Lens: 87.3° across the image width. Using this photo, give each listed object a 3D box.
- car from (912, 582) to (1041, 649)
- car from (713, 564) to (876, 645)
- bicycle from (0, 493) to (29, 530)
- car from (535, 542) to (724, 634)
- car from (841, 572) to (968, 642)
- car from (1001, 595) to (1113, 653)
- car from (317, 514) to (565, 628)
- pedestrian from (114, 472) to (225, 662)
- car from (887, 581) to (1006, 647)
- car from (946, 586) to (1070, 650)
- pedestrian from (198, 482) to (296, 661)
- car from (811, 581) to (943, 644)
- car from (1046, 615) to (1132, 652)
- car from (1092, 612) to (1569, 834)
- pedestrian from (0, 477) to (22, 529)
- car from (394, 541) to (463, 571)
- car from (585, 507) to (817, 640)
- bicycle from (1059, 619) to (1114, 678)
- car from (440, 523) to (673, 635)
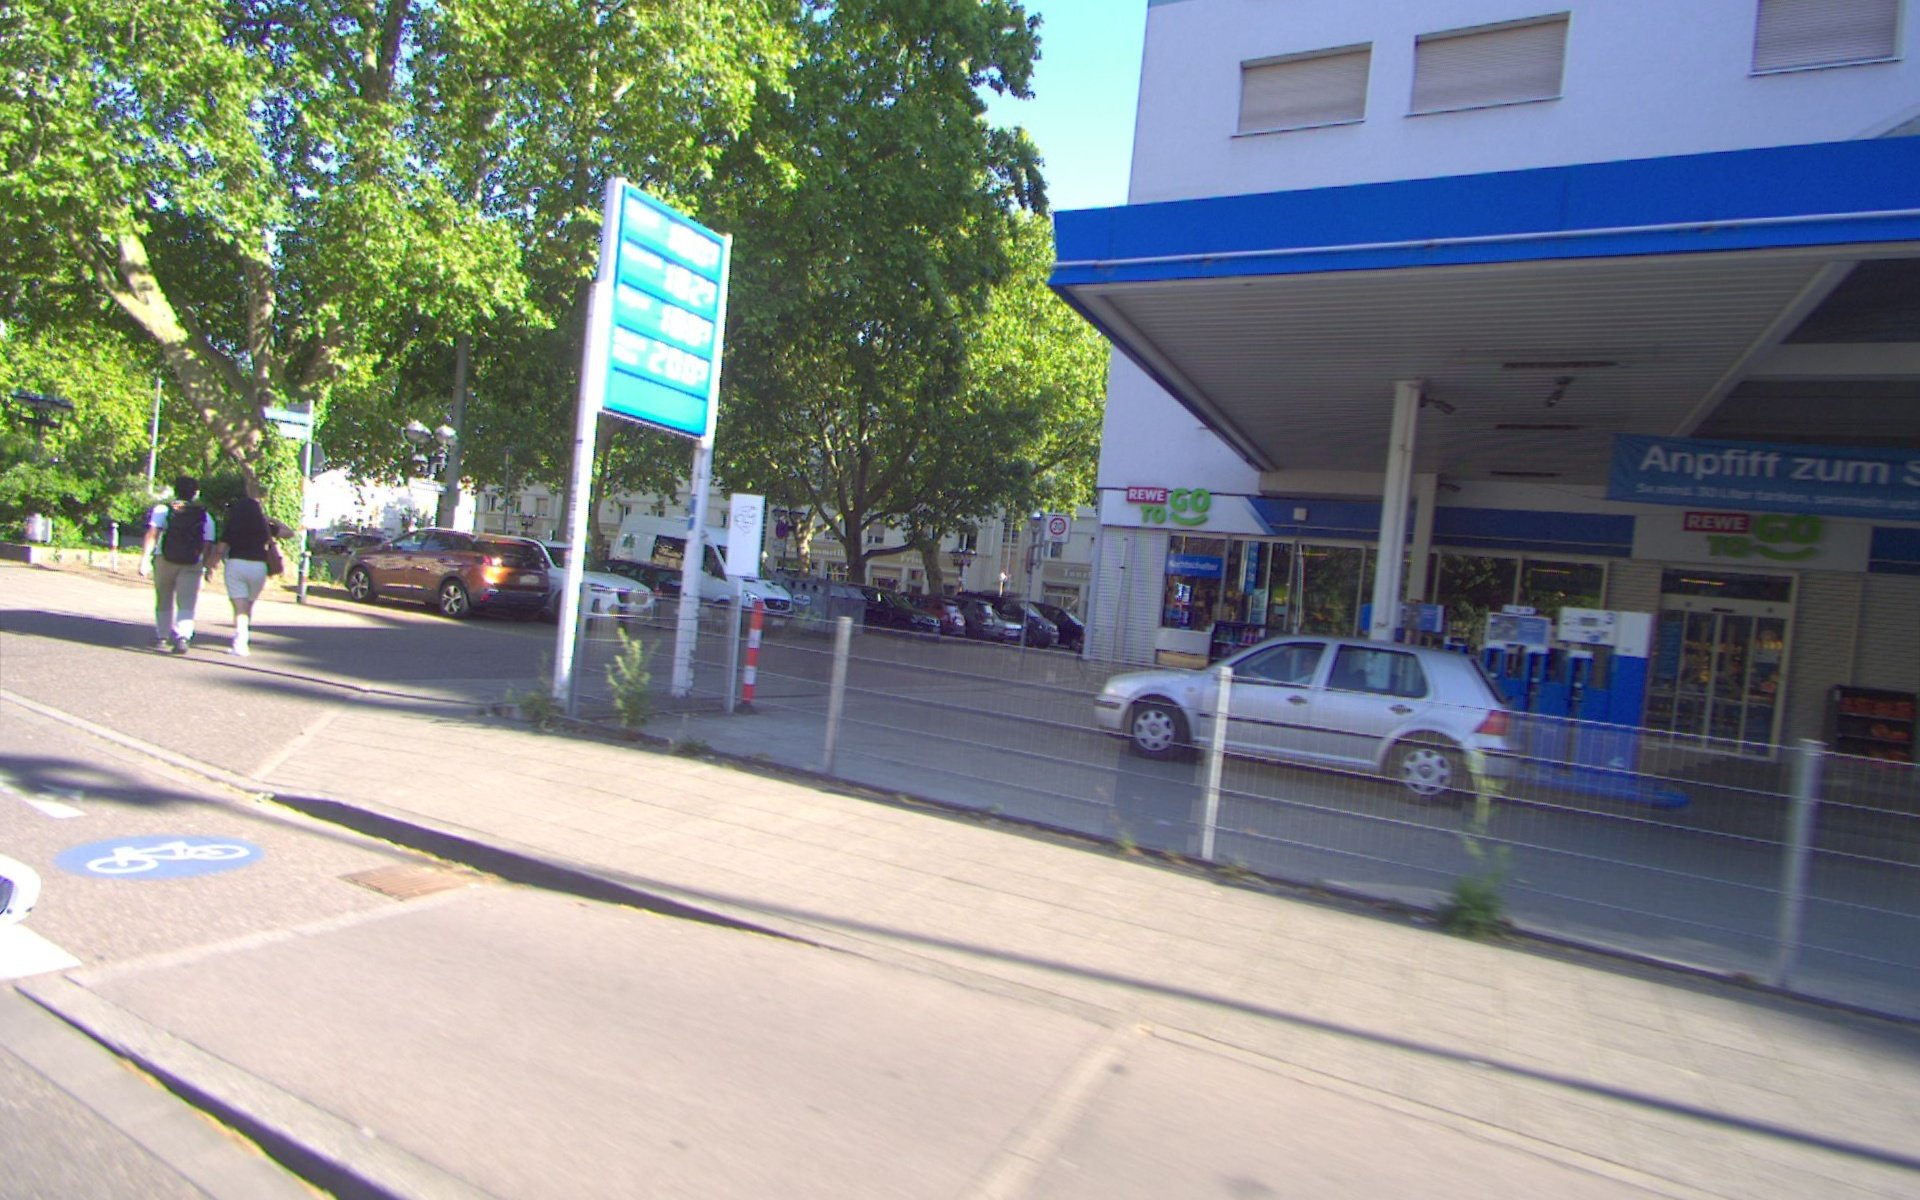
[{"bbox_3d":[0.662,0.634,40.856,4.668,2.039,1.997,8,1,28],"label":"car"},{"bbox_3d":[-4.626,0.130,28.072,3.929,1.760,1.998,6,0,26],"label":"car"},{"bbox_3d":[-36.350,-3.434,37.673,0.446,1.254,2.330,7,-2,7],"label":"bicycle"},{"bbox_3d":[-7.690,-0.273,23.366,3.930,1.590,1.863,8,1,28],"label":"car"},{"bbox_3d":[-1.956,0.258,35.972,3.924,2.039,2.000,6,1,16],"label":"car"},{"bbox_3d":[4.545,1.108,47.391,4.668,2.039,1.997,8,1,28],"label":"car"},{"bbox_3d":[-10.219,-0.572,19.780,4.578,1.622,1.821,8,1,25],"label":"car"},{"bbox_3d":[-7.974,-0.341,10.148,0.864,1.801,0.602,7,5,32],"label":"pedestrian"},{"bbox_3d":[-0.503,0.529,38.142,3.924,2.039,2.000,6,1,16],"label":"car"},{"bbox_3d":[2.035,0.761,43.007,4.668,2.039,1.997,8,1,28],"label":"car"},{"bbox_3d":[-7.541,-0.304,10.637,0.678,1.801,0.602,7,5,31],"label":"pedestrian"},{"bbox_3d":[-2.758,0.416,33.614,3.924,1.614,1.742,6,1,16],"label":"car"},{"bbox_3d":[7.035,1.806,55.082,1.987,1.395,4.269,7,1,-44],"label":"car"},{"bbox_3d":[3.548,1.075,9.986,4.027,1.449,1.570,6,1,27],"label":"car"},{"bbox_3d":[-35.673,-3.627,37.803,0.335,1.887,0.391,6,-1,42],"label":"pedestrian"},{"bbox_3d":[-38.239,-3.146,72.460,1.965,1.705,3.897,7,0,26],"label":"car"},{"bbox_3d":[-6.868,-0.720,26.487,5.696,2.869,2.244,6,1,28],"label":"car"},{"bbox_3d":[2.979,1.117,23.450,0.821,1.224,2.132,6,0,16],"label":"bicycle"},{"bbox_3d":[-8.583,-0.462,21.329,4.715,1.757,1.863,8,1,28],"label":"car"}]
